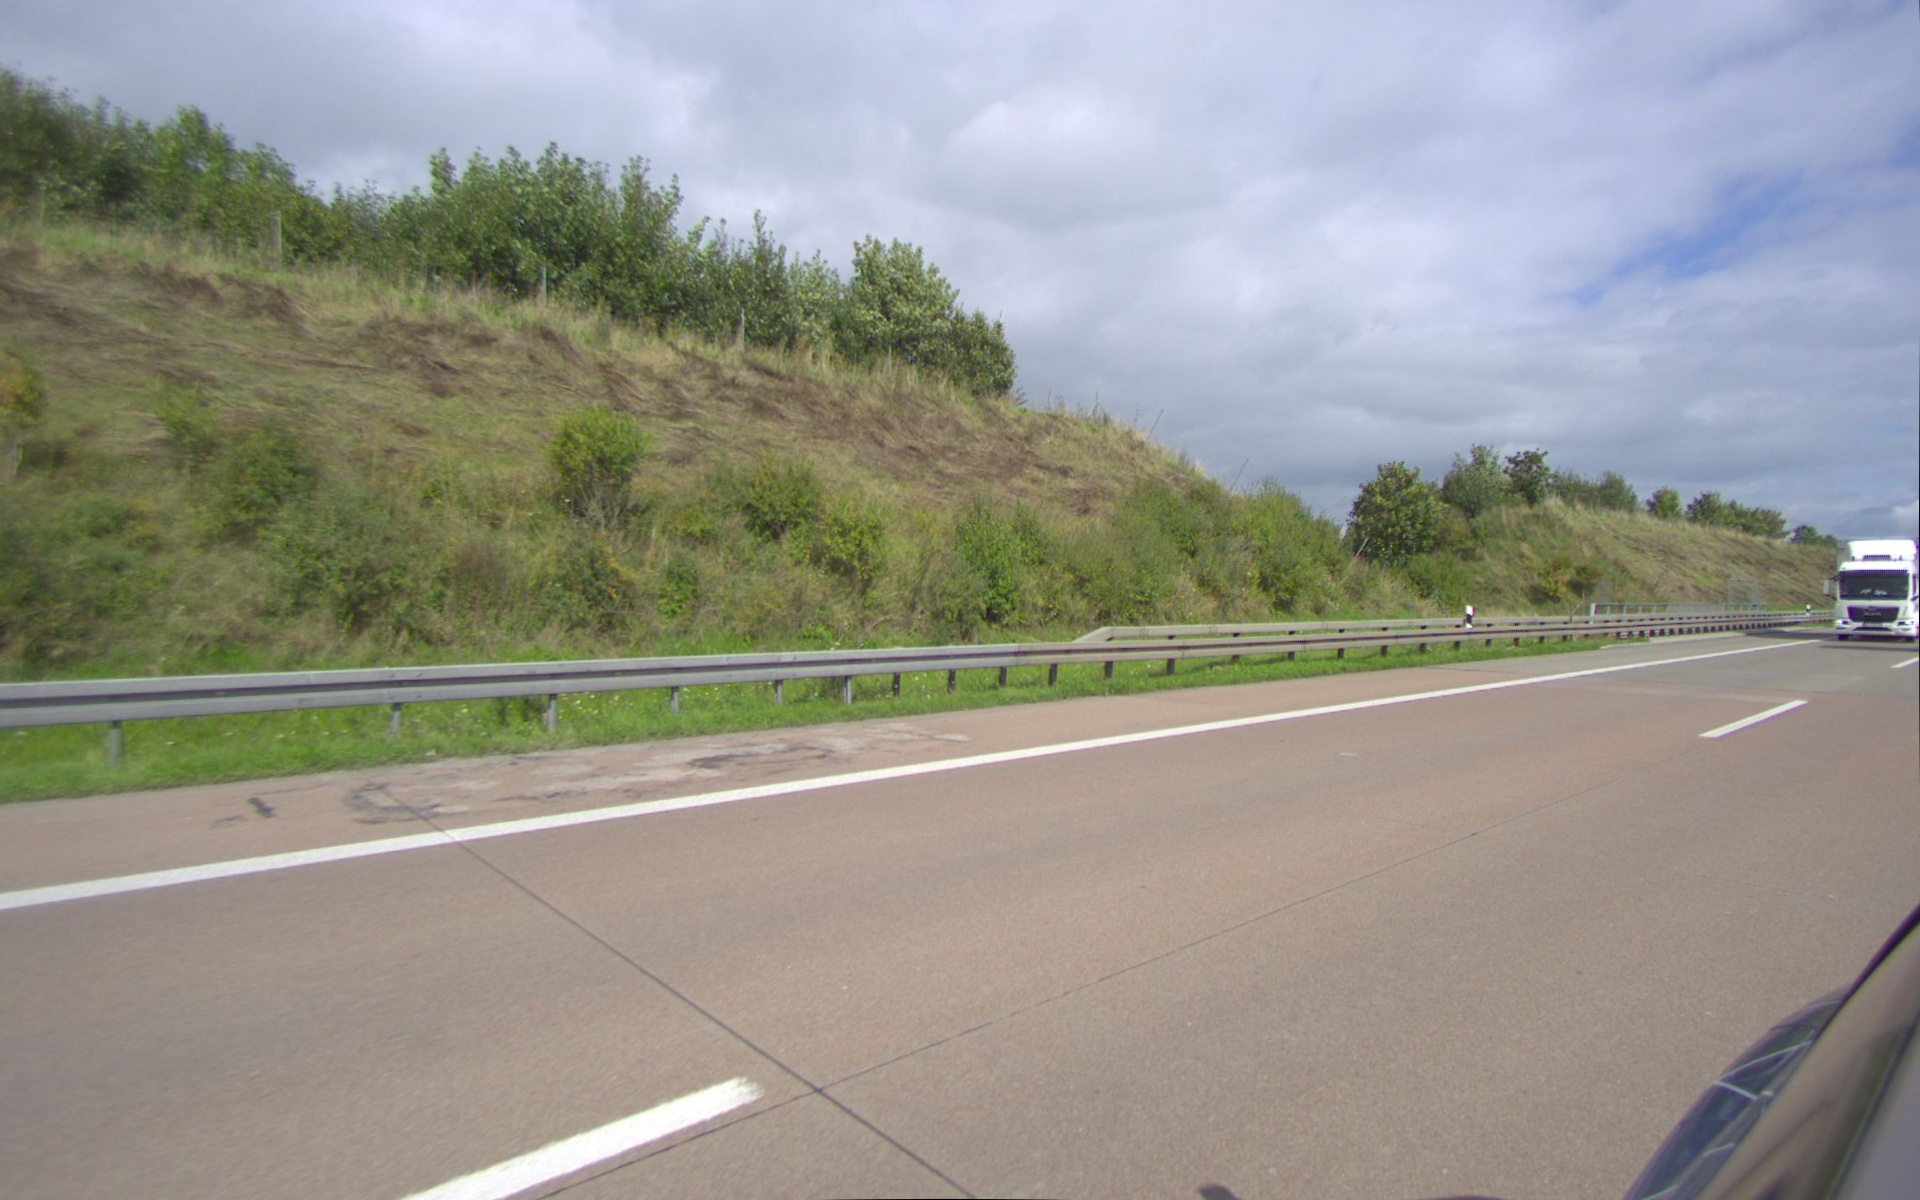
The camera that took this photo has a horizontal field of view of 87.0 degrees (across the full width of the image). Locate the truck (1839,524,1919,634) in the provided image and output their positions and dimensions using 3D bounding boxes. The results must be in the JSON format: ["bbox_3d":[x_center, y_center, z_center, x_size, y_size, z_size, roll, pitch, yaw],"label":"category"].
[{"bbox_3d":[35.554,-0.767,38.509,4.470,3.941,2.751,0,0,-43],"label":"truck"}]

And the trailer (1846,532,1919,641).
[{"bbox_3d":[38.380,-0.577,41.166,8.526,4.062,2.750,-1,1,-43],"label":"trailer"}]
